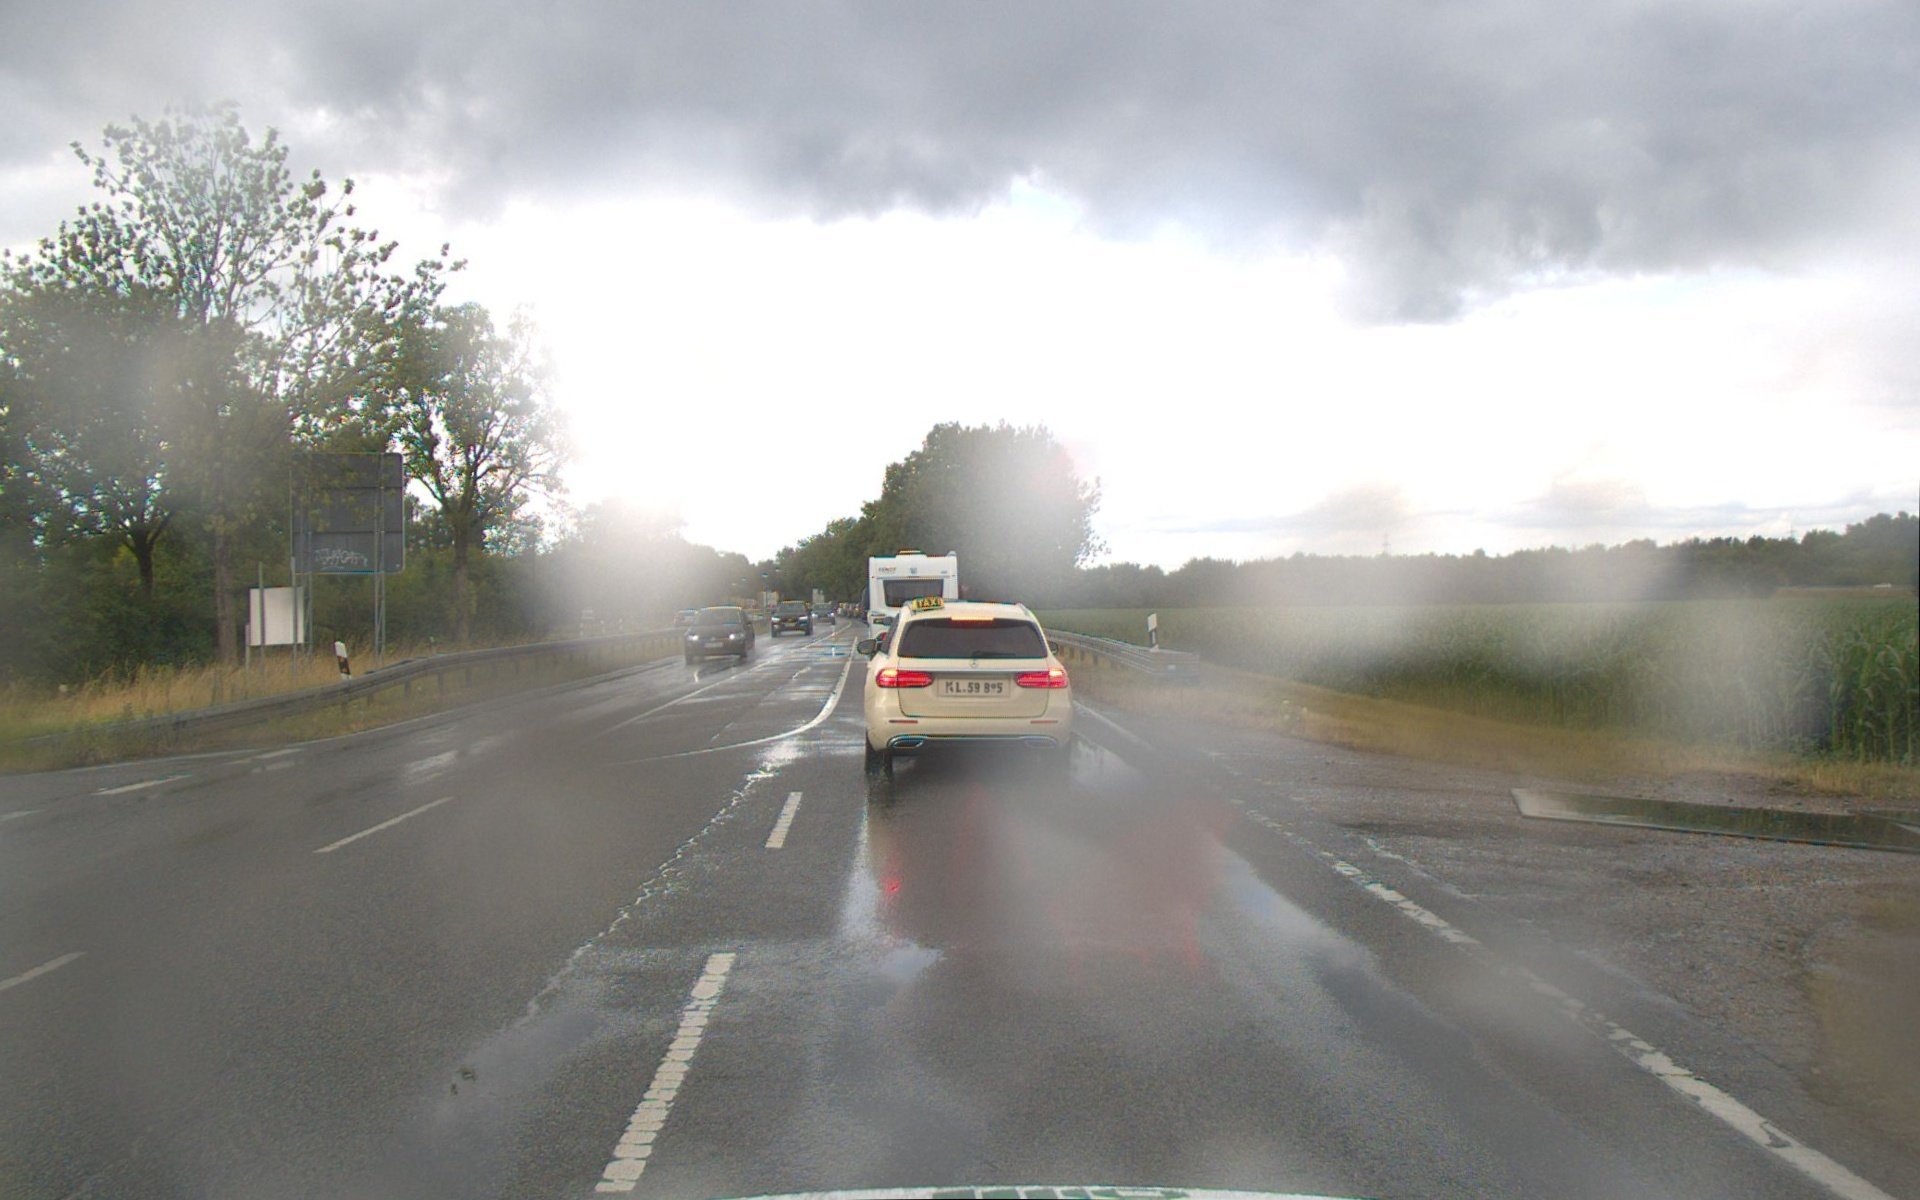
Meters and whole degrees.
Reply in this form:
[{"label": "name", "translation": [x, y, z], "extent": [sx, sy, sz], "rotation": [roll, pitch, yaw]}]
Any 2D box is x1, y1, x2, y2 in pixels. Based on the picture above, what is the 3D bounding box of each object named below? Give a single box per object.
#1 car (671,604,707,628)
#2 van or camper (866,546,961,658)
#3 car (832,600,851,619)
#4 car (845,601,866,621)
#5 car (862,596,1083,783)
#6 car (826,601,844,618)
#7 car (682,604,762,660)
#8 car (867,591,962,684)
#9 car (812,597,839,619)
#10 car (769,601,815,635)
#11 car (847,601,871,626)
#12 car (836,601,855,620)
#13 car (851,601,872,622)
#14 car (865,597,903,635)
[{"label": "car", "translation": [-19.408, 1.126, 118.692], "extent": [1.953, 1.680, 3.999], "rotation": [-2, 0, -1]}, {"label": "van or camper", "translation": [-1.263, 0.034, 43.837], "extent": [2.303, 2.727, 5.765], "rotation": [-1, 0, -2]}, {"label": "car", "translation": [-13.813, 1.095, 192.224], "extent": [1.956, 2.087, 3.993], "rotation": [-1, 0, -8]}, {"label": "car", "translation": [-10.874, 1.141, 171.897], "extent": [1.956, 2.049, 3.994], "rotation": [-1, 0, -7]}, {"label": "car", "translation": [0.055, 0.723, 15.488], "extent": [1.788, 1.511, 4.144], "rotation": [0, 0, -1]}, {"label": "car", "translation": [-15.195, 1.154, 201.633], "extent": [1.956, 2.049, 3.993], "rotation": [-1, 0, -7]}, {"label": "car", "translation": [-6.657, 0.865, 46.615], "extent": [1.677, 1.430, 3.813], "rotation": [-2, 0, 0]}, {"label": "car", "translation": [-0.862, 0.643, 30.397], "extent": [1.595, 1.556, 3.930], "rotation": [-1, 0, -2]}, {"label": "car", "translation": [-10.028, 0.608, 123.551], "extent": [1.733, 1.550, 4.140], "rotation": [-3, 0, -2]}, {"label": "car", "translation": [-8.261, 0.857, 81.585], "extent": [1.905, 1.608, 4.442], "rotation": [-1, 0, -2]}, {"label": "car", "translation": [-8.804, 1.159, 144.237], "extent": [1.955, 2.049, 3.995], "rotation": [-1, 0, -5]}, {"label": "car", "translation": [-12.906, 1.160, 186.178], "extent": [1.955, 2.049, 3.994], "rotation": [-1, 0, -7]}, {"label": "car", "translation": [-9.722, 1.129, 163.185], "extent": [1.955, 2.049, 3.996], "rotation": [-1, 0, -5]}, {"label": "car", "translation": [-4.650, 0.961, 100.428], "extent": [2.202, 2.237, 5.408], "rotation": [-1, 0, -4]}]
